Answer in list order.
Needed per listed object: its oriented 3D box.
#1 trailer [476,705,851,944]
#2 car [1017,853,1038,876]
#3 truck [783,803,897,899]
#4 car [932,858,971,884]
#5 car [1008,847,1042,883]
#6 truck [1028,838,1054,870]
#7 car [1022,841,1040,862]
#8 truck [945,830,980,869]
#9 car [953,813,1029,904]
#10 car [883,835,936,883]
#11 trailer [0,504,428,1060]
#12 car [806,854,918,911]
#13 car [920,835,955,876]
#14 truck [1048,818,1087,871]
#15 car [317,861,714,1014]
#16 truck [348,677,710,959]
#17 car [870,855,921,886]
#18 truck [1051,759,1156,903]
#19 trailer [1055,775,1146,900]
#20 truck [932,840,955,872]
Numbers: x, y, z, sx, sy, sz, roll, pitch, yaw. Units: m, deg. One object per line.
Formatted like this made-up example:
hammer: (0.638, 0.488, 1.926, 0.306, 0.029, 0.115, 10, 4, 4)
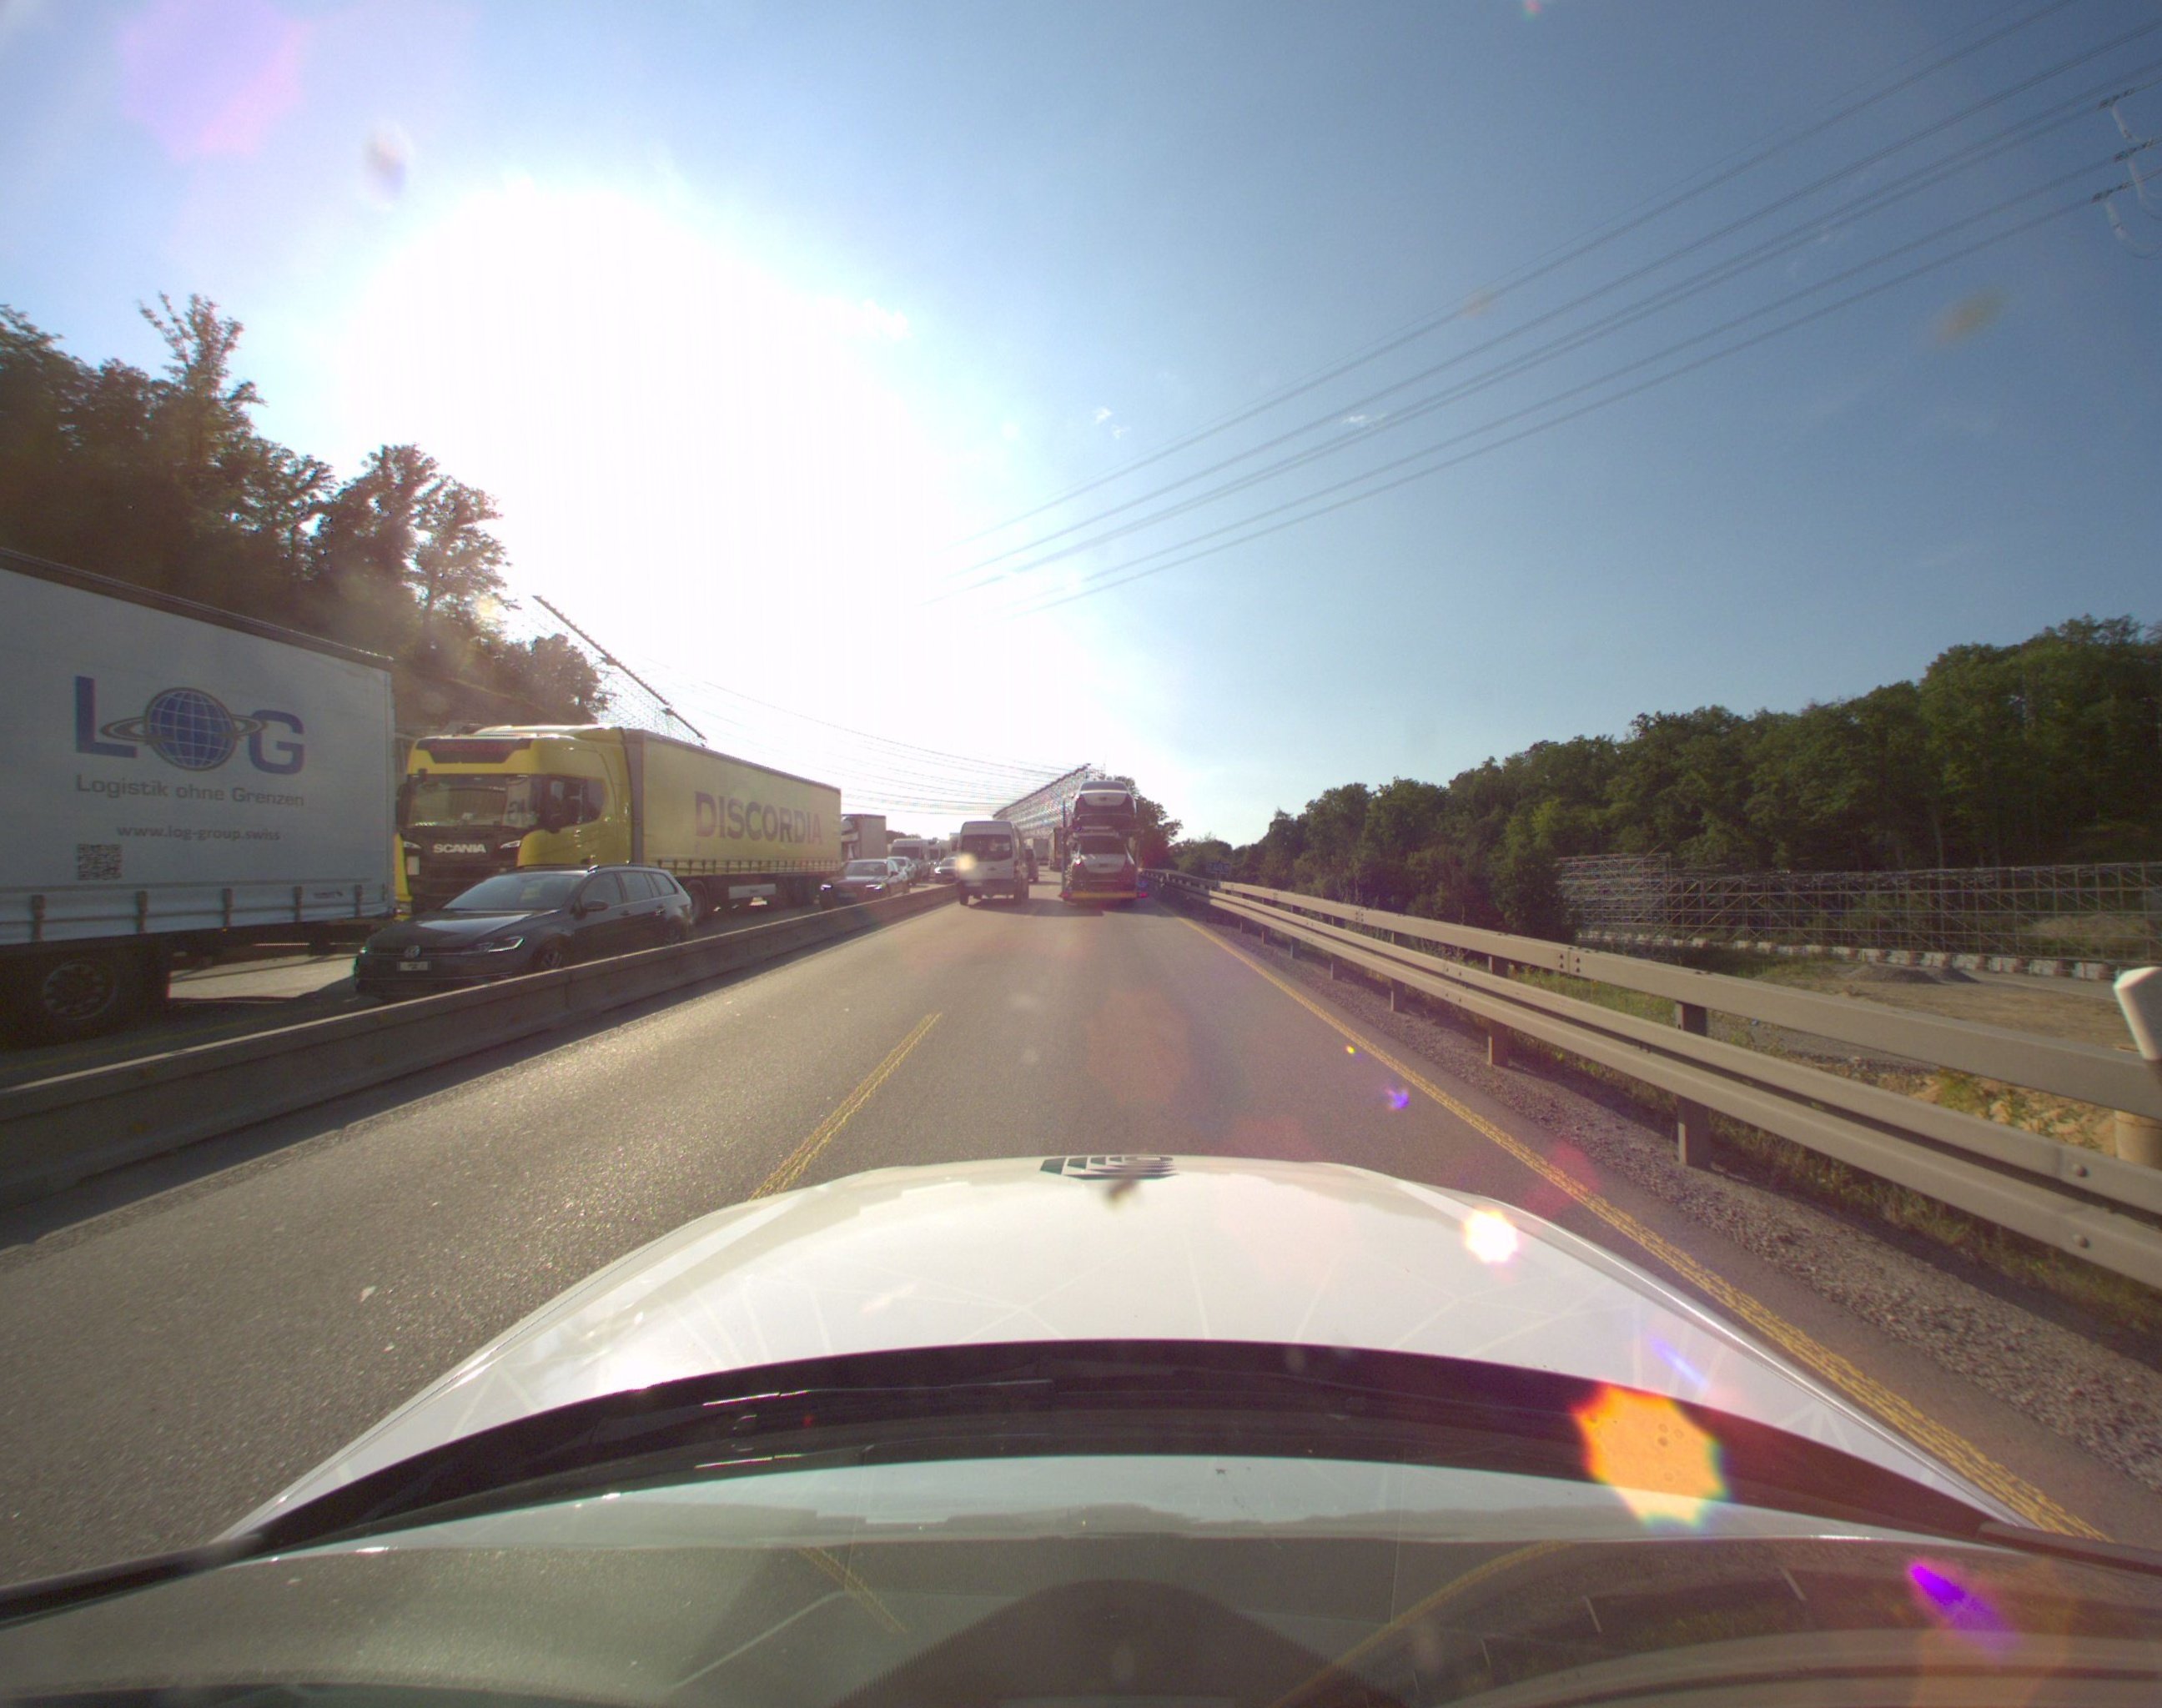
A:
trailer: (-9.831, -0.384, 22.393, 2.884, 4.394, 14.375, -1, -1, 0)
car: (-4.925, 0.984, 74.908, 1.663, 1.985, 3.815, -1, -2, -1)
truck: (-9.907, -0.021, 34.354, 2.350, 3.531, 7.696, -2, -2, 1)
car: (-7.322, 0.985, 46.451, 1.663, 1.368, 3.815, -1, -1, -1)
car: (-3.190, 0.659, 46.899, 1.663, 1.985, 3.816, -1, -2, -1)
truck: (-6.275, 0.016, 126.942, 3.642, 4.677, 11.676, -1, 0, -4)
car: (-5.147, -0.209, 83.832, 1.663, 1.985, 3.815, -1, -2, -1)
truck: (-12.978, -0.458, 89.871, 2.634, 3.995, 9.024, -1, 0, -1)
car: (-2.835, 0.183, 26.527, 1.973, 2.685, 4.145, -1, -2, -1)
car: (-10.538, 0.382, 50.503, 2.122, 2.750, 5.502, -1, -2, -1)
trailer: (-9.547, -0.584, 4.109, 2.444, 4.266, 12.148, -2, -1, 2)
car: (-6.486, 0.838, 24.745, 1.986, 1.531, 4.727, -2, -1, 1)
car: (-10.178, 0.099, 58.254, 1.663, 2.765, 4.957, -1, 0, -1)
truck: (-1.428, -0.851, 78.690, 3.221, 4.677, 11.679, -1, 0, -4)
car: (-6.547, 0.873, 10.226, 1.748, 1.449, 4.534, -2, -1, 1)
truck: (-9.819, -0.499, 15.422, 2.884, 4.272, 5.769, -1, -2, 0)
car: (-9.655, 0.879, 42.627, 1.804, 1.531, 4.045, -1, -2, -1)
truck: (0.627, -0.571, 25.797, 2.861, 3.980, 5.769, -1, -2, 0)
trailer: (0.620, -0.349, 34.222, 2.865, 3.994, 15.274, -1, -1, 0)
truck: (-21.248, 0.282, 125.734, 3.228, 4.677, 11.655, -1, 0, -10)
